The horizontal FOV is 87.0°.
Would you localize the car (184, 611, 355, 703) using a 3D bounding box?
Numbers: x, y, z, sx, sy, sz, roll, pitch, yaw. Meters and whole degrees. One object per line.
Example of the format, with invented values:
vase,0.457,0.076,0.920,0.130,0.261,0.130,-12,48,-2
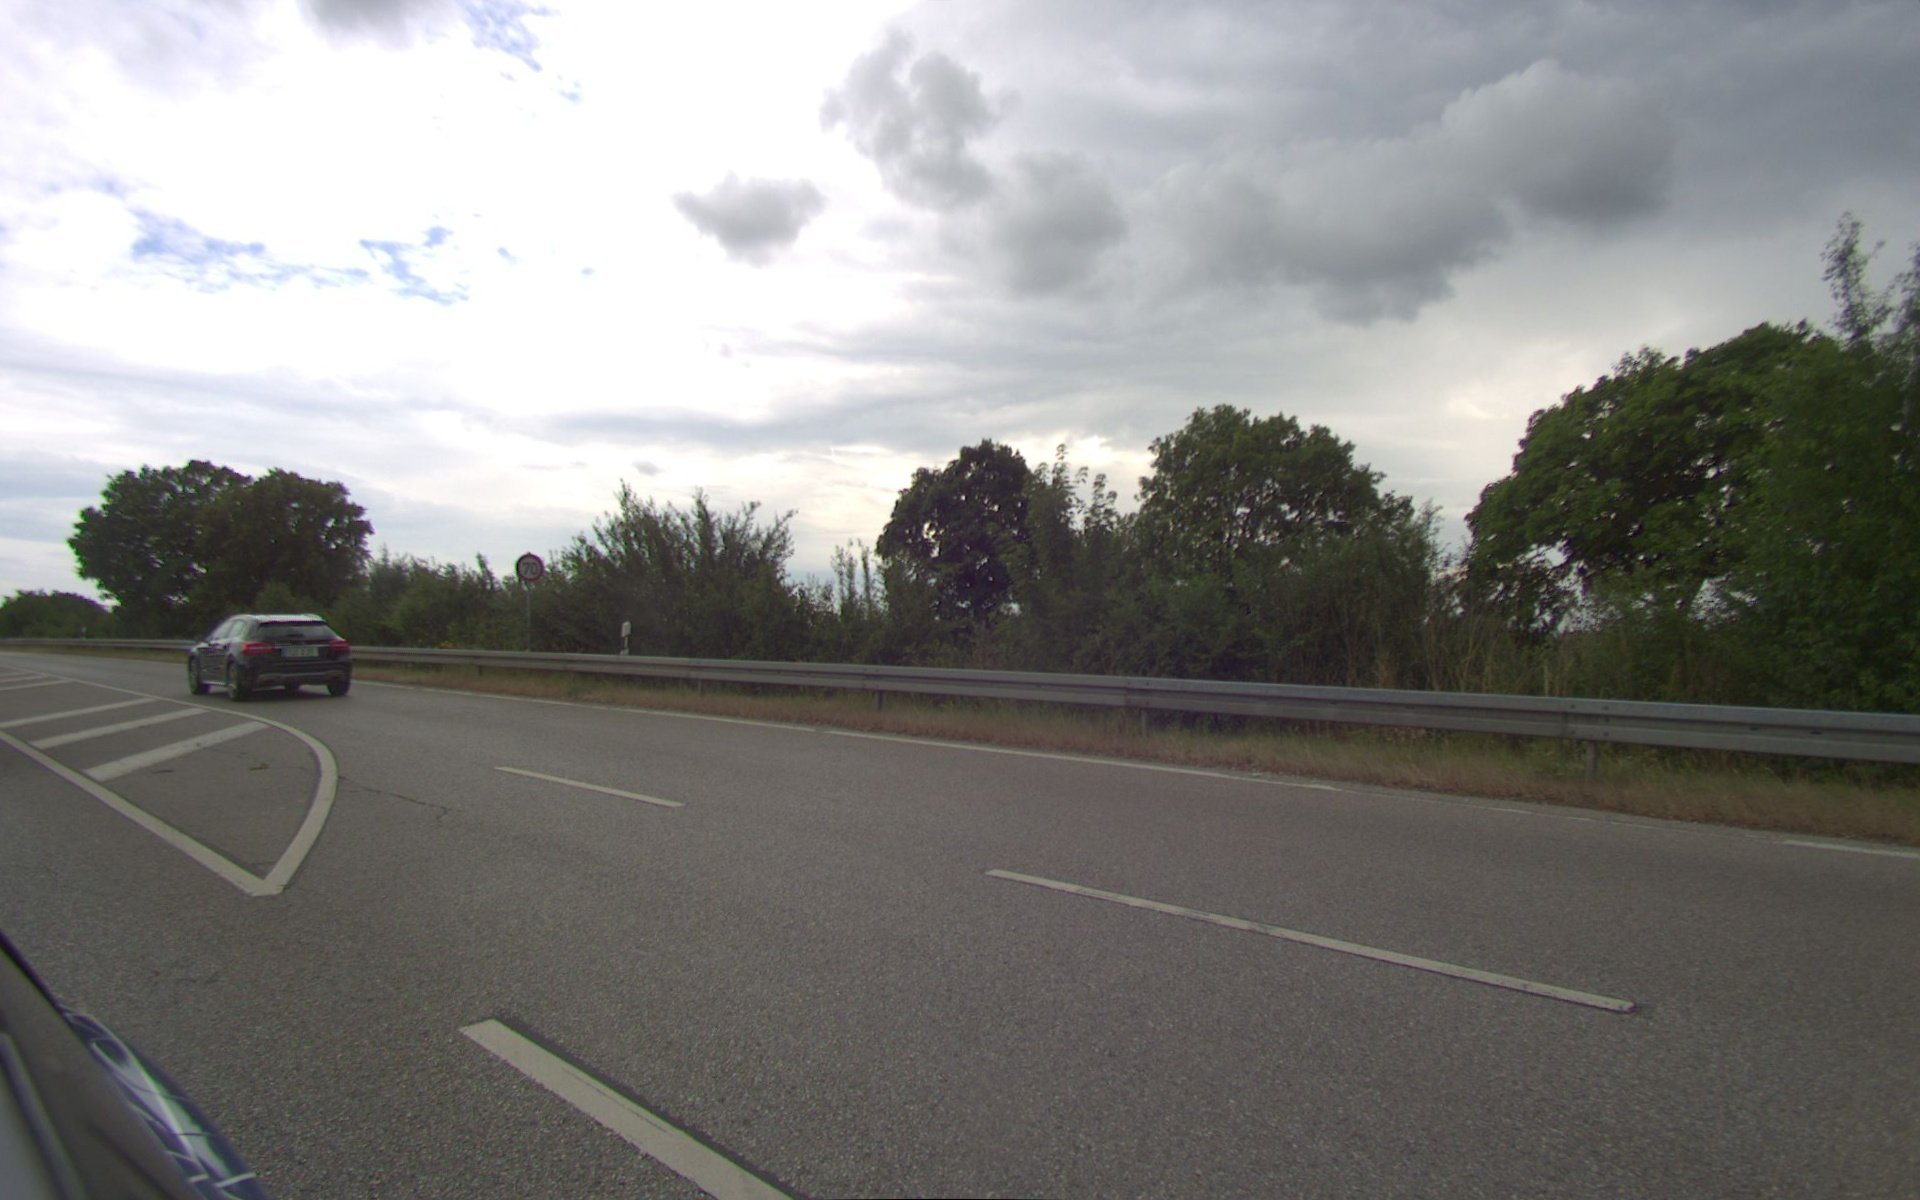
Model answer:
car,-12.898,0.990,18.812,3.998,1.534,1.693,-1,-1,41
